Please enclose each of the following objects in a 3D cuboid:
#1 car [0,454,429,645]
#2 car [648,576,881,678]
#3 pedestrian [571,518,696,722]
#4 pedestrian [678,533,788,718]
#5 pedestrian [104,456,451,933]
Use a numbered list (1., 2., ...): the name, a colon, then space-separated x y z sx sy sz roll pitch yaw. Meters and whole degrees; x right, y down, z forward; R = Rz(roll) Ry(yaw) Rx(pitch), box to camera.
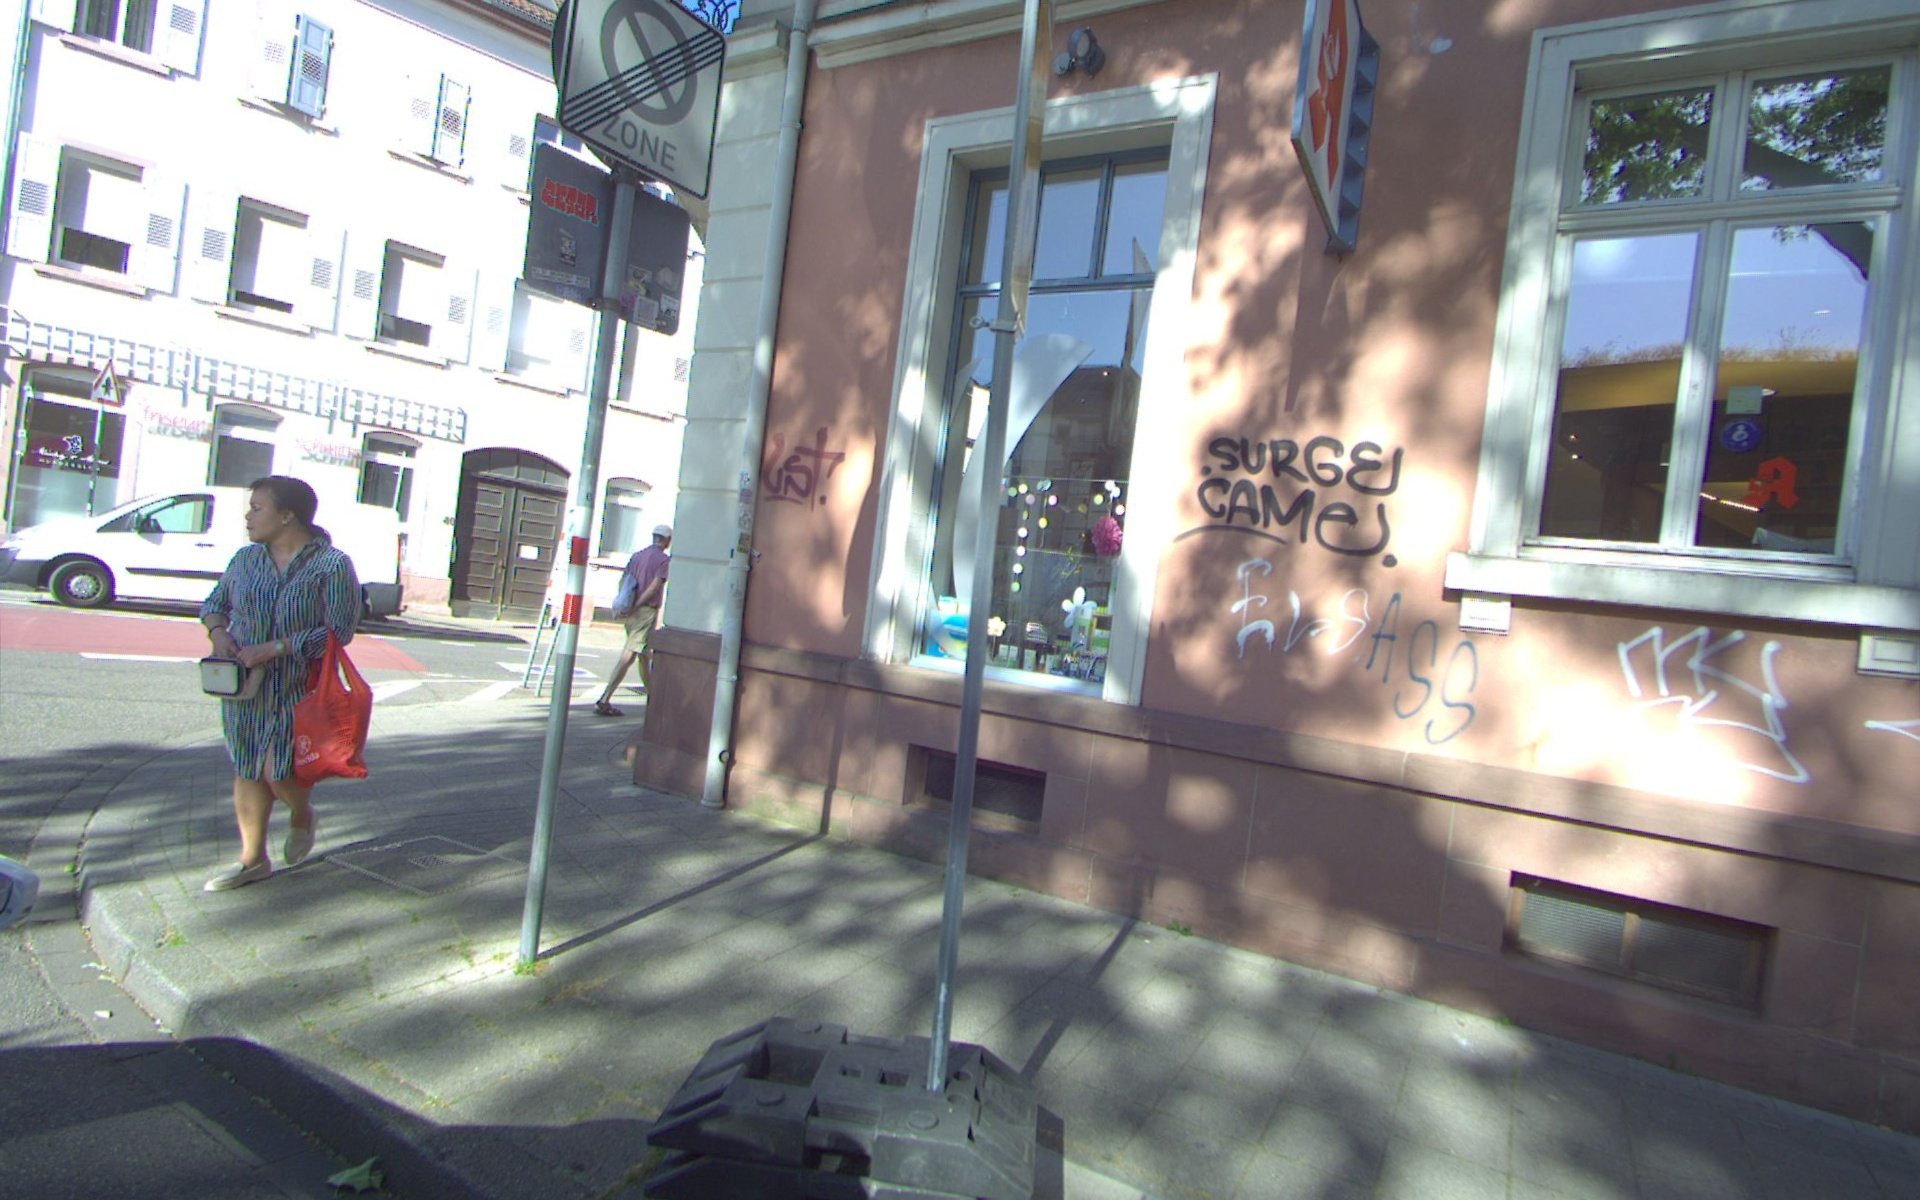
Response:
1. car: -10.855 -0.633 14.799 4.984 1.969 2.030 8 -1 -37
2. car: -3.940 0.589 20.697 4.347 1.559 1.630 8 -2 -37
3. pedestrian: -3.040 0.181 9.378 0.818 1.787 0.749 2 1 35
4. pedestrian: -2.179 0.235 9.689 0.616 1.689 0.835 2 1 31
5. pedestrian: -2.647 0.292 3.922 0.832 1.596 0.843 6 5 31
